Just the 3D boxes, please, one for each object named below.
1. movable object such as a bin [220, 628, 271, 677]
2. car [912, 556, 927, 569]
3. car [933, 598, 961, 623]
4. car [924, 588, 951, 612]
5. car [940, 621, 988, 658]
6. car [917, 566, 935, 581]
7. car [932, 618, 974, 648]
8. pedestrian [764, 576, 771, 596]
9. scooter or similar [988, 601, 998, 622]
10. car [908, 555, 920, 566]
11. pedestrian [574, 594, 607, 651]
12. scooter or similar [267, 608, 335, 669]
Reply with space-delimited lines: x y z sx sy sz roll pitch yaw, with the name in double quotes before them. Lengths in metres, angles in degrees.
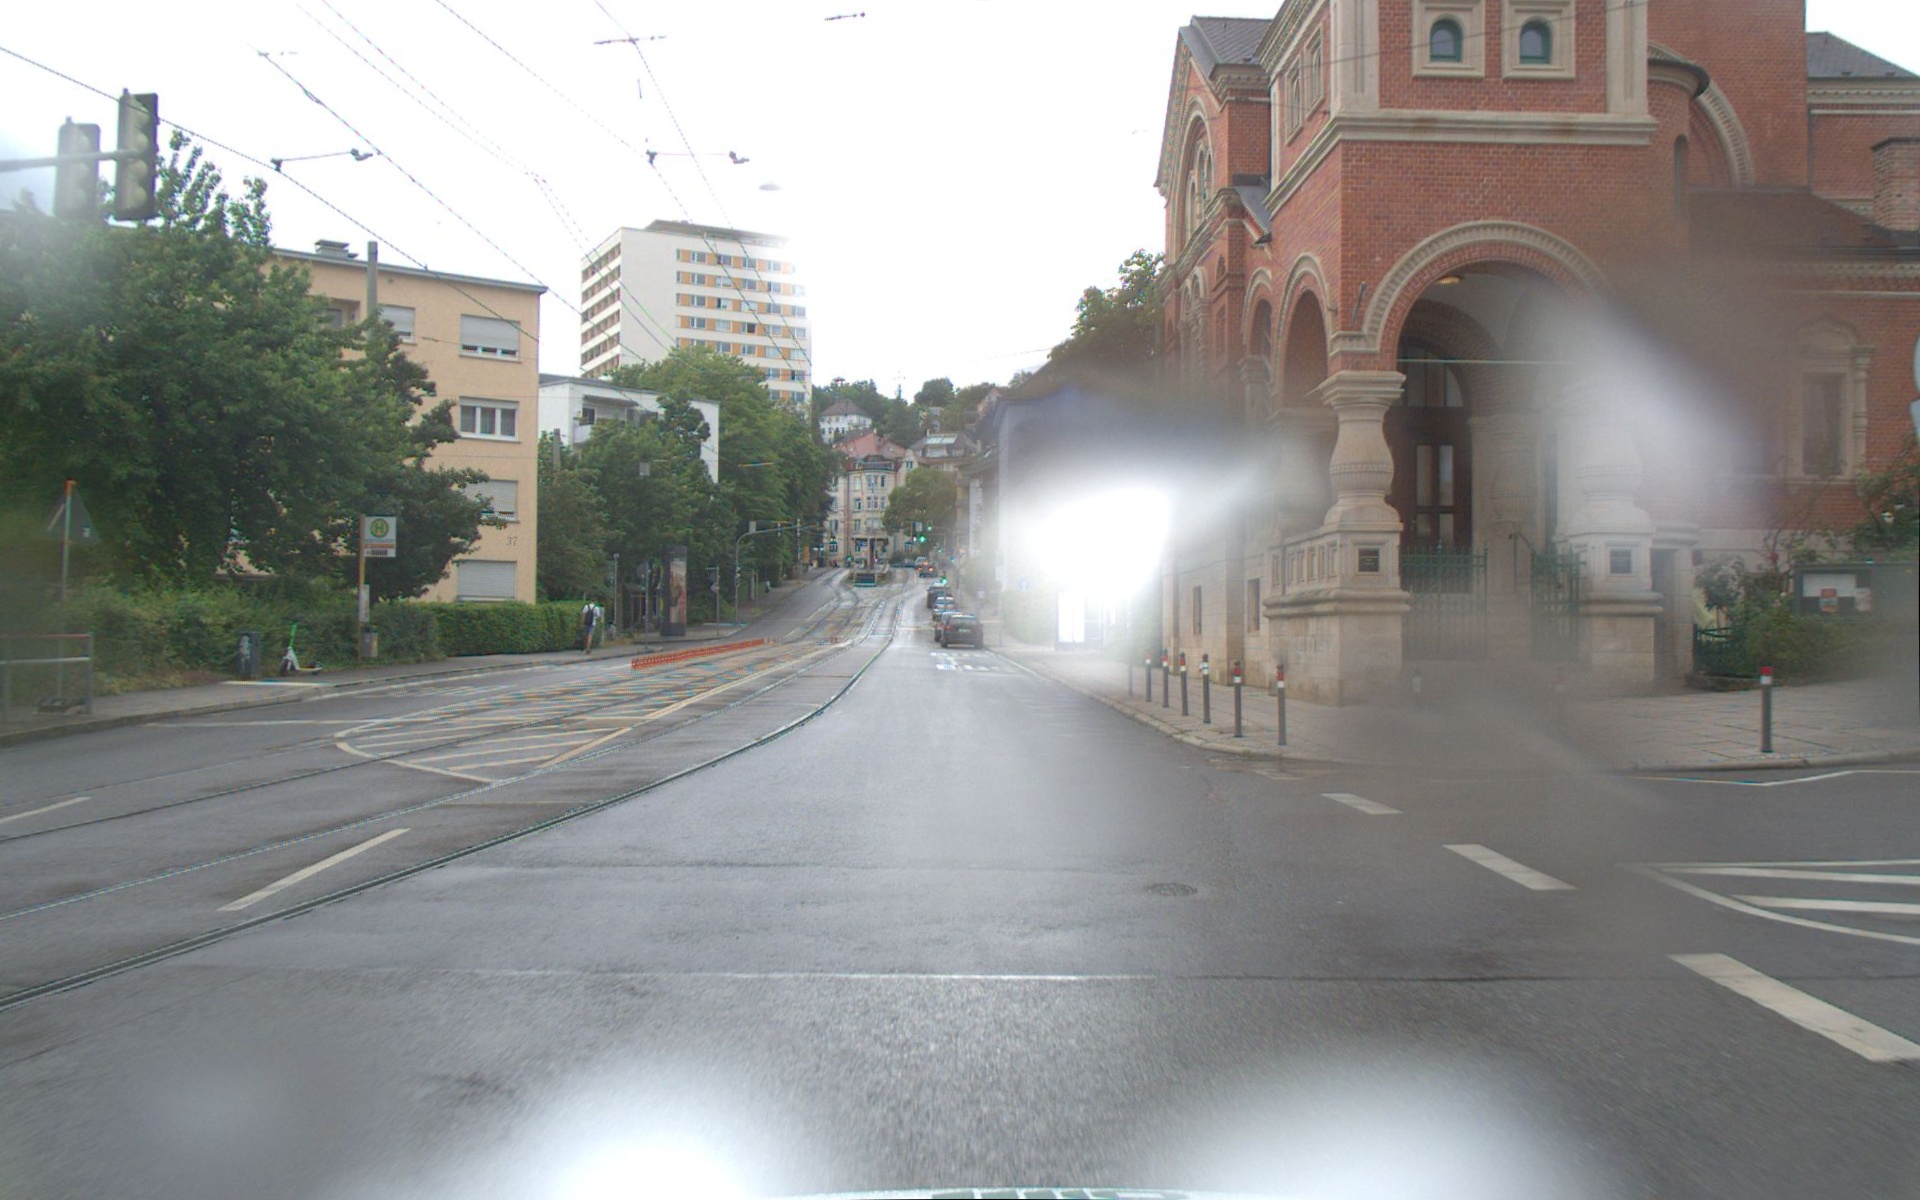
"movable object such as a bin" -13.727 1.010 31.780 0.673 0.897 0.759 2 -2 -7
"car" -5.657 -5.219 230.663 1.868 1.670 4.688 2 1 -2
"car" -0.892 0.684 109.749 1.670 1.458 4.100 2 1 -2
"car" -1.733 -0.026 126.061 1.868 1.670 4.688 2 1 -2
"car" 0.132 1.715 73.221 1.821 1.513 4.642 -2 -1 -3
"car" -4.125 -3.233 199.245 1.767 1.674 3.995 1 0 -6
"car" -0.384 1.672 84.825 1.901 1.490 4.203 1 -1 -4
"pedestrian" -16.323 -1.182 140.257 0.571 1.628 0.868 3 0 -5
"scooter or similar" 2.214 0.786 110.440 0.562 1.270 1.611 1 4 4
"car" -7.170 -6.117 257.594 1.868 1.670 4.688 2 1 -2
"pedestrian" -12.653 0.775 56.651 0.901 1.878 1.016 2 -2 -6
"scooter or similar" -13.482 0.799 33.866 0.560 1.205 1.601 1 -2 6
